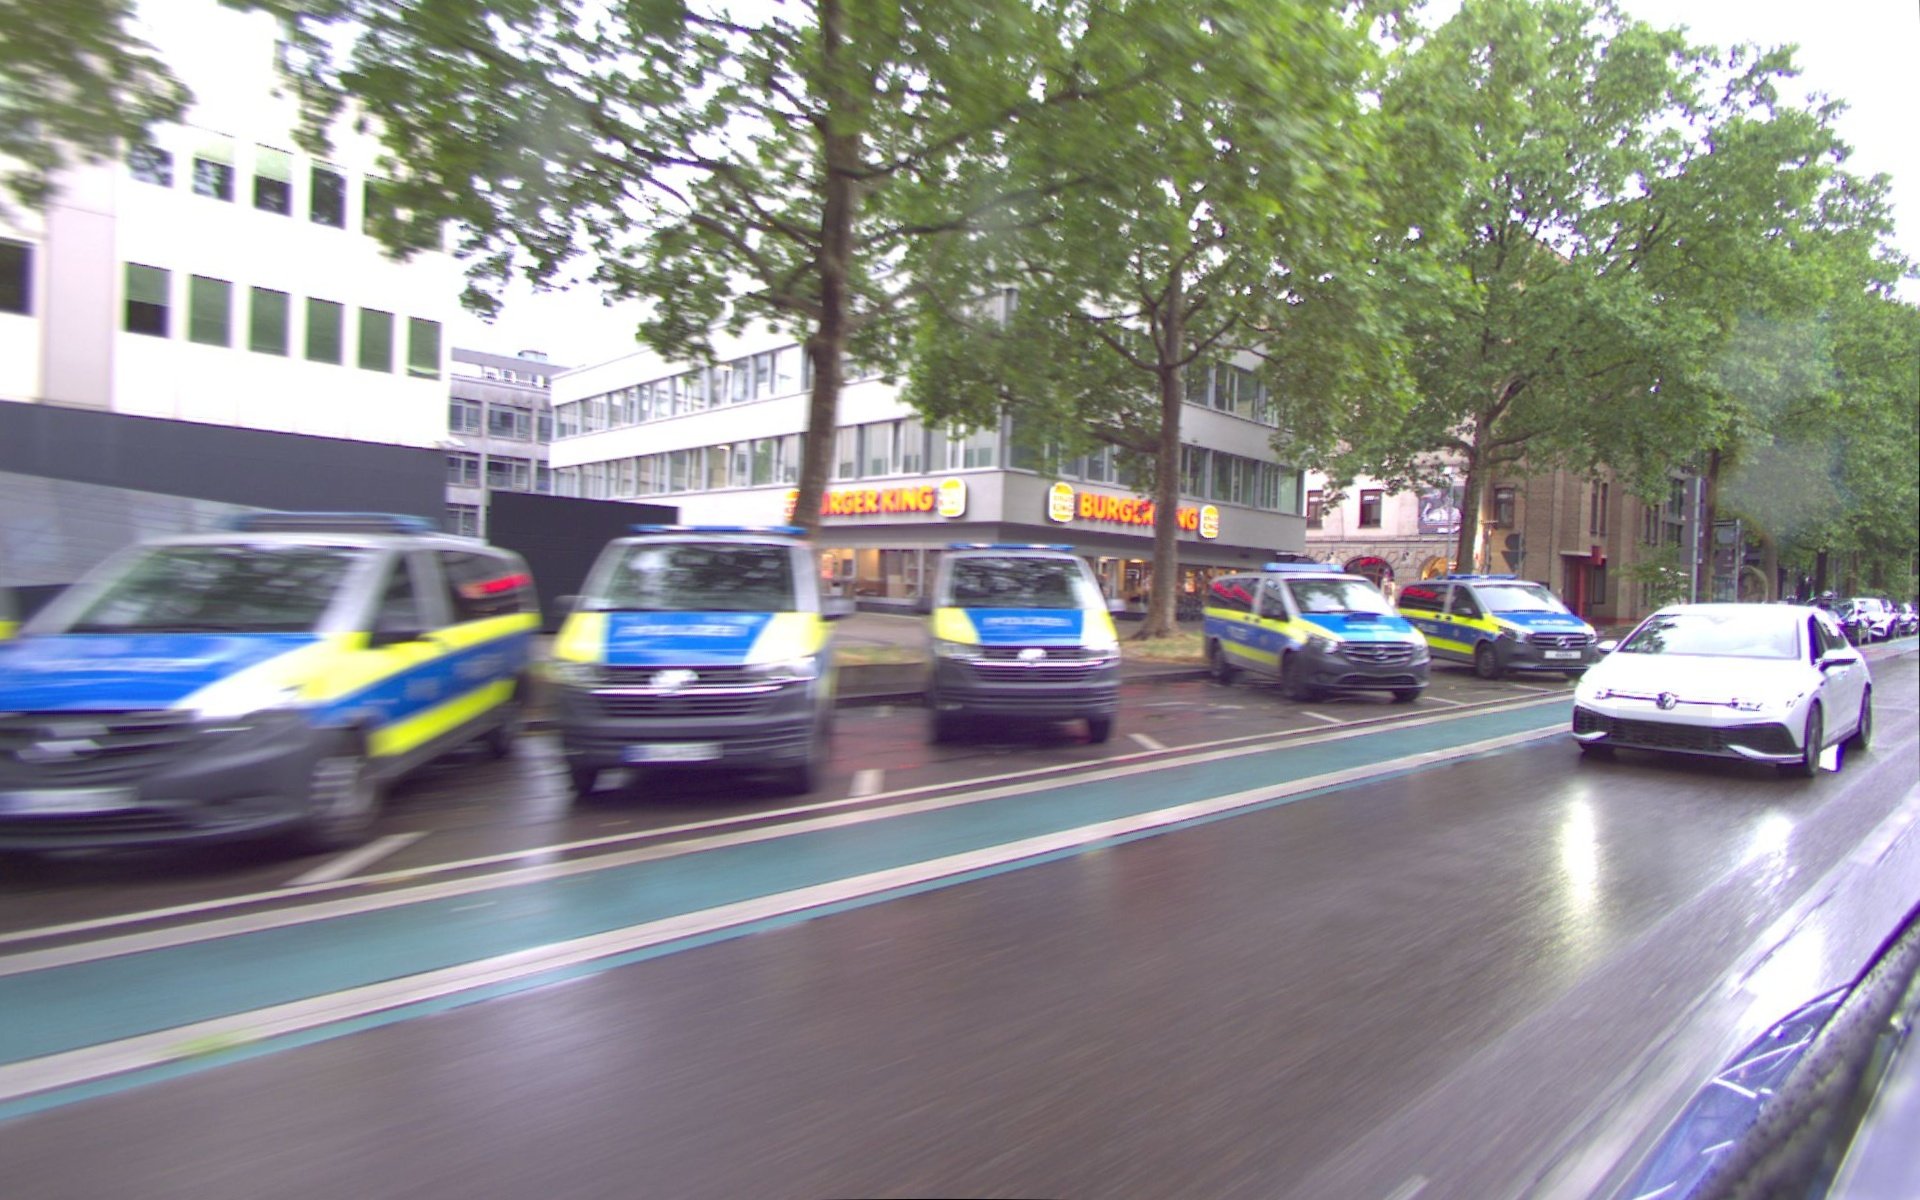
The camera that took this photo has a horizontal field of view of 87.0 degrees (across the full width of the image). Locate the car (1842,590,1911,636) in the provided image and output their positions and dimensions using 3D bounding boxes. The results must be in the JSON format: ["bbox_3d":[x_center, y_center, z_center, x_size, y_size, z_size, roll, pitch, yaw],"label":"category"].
[{"bbox_3d":[34.702,0.450,38.296,1.752,1.605,4.339,1,1,45],"label":"car"}]

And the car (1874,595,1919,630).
[{"bbox_3d":[42.442,0.519,45.295,4.505,1.451,1.746,0,1,-41],"label":"car"}]

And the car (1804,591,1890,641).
[{"bbox_3d":[30.856,0.509,35.150,4.348,1.623,1.795,0,0,-42],"label":"car"}]

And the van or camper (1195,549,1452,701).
[{"bbox_3d":[5.504,0.328,16.206,1.957,2.044,5.093,0,0,-4],"label":"van or camper"}]

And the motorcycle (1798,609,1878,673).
[{"bbox_3d":[17.519,0.787,20.240,0.862,1.157,1.999,1,1,31],"label":"motorcycle"}]

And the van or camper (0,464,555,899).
[{"bbox_3d":[-4.560,0.316,7.217,1.959,2.020,5.033,1,1,-8],"label":"van or camper"}]

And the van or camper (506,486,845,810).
[{"bbox_3d":[-2.070,0.253,8.818,1.960,2.036,4.800,0,1,-5],"label":"van or camper"}]

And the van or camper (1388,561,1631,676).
[{"bbox_3d":[10.707,0.304,20.262,1.963,2.017,4.950,0,1,-3],"label":"van or camper"}]

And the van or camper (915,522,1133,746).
[{"bbox_3d":[0.485,0.266,11.637,1.831,2.023,4.859,1,1,-4],"label":"van or camper"}]

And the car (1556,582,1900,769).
[{"bbox_3d":[7.800,0.577,10.111,4.430,1.463,1.865,0,1,-41],"label":"car"}]

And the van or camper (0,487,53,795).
[{"bbox_3d":[-7.297,0.305,4.544,2.065,2.050,5.112,1,1,-3],"label":"van or camper"}]

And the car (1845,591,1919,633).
[{"bbox_3d":[38.188,0.467,41.852,4.484,1.609,1.996,0,1,-43],"label":"car"}]

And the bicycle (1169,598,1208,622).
[{"bbox_3d":[8.569,0.365,37.877,0.640,0.829,1.885,2,1,40],"label":"bicycle"}]

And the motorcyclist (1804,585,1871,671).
[{"bbox_3d":[17.517,0.532,20.227,0.842,1.665,0.862,1,0,31],"label":"motorcyclist"}]
